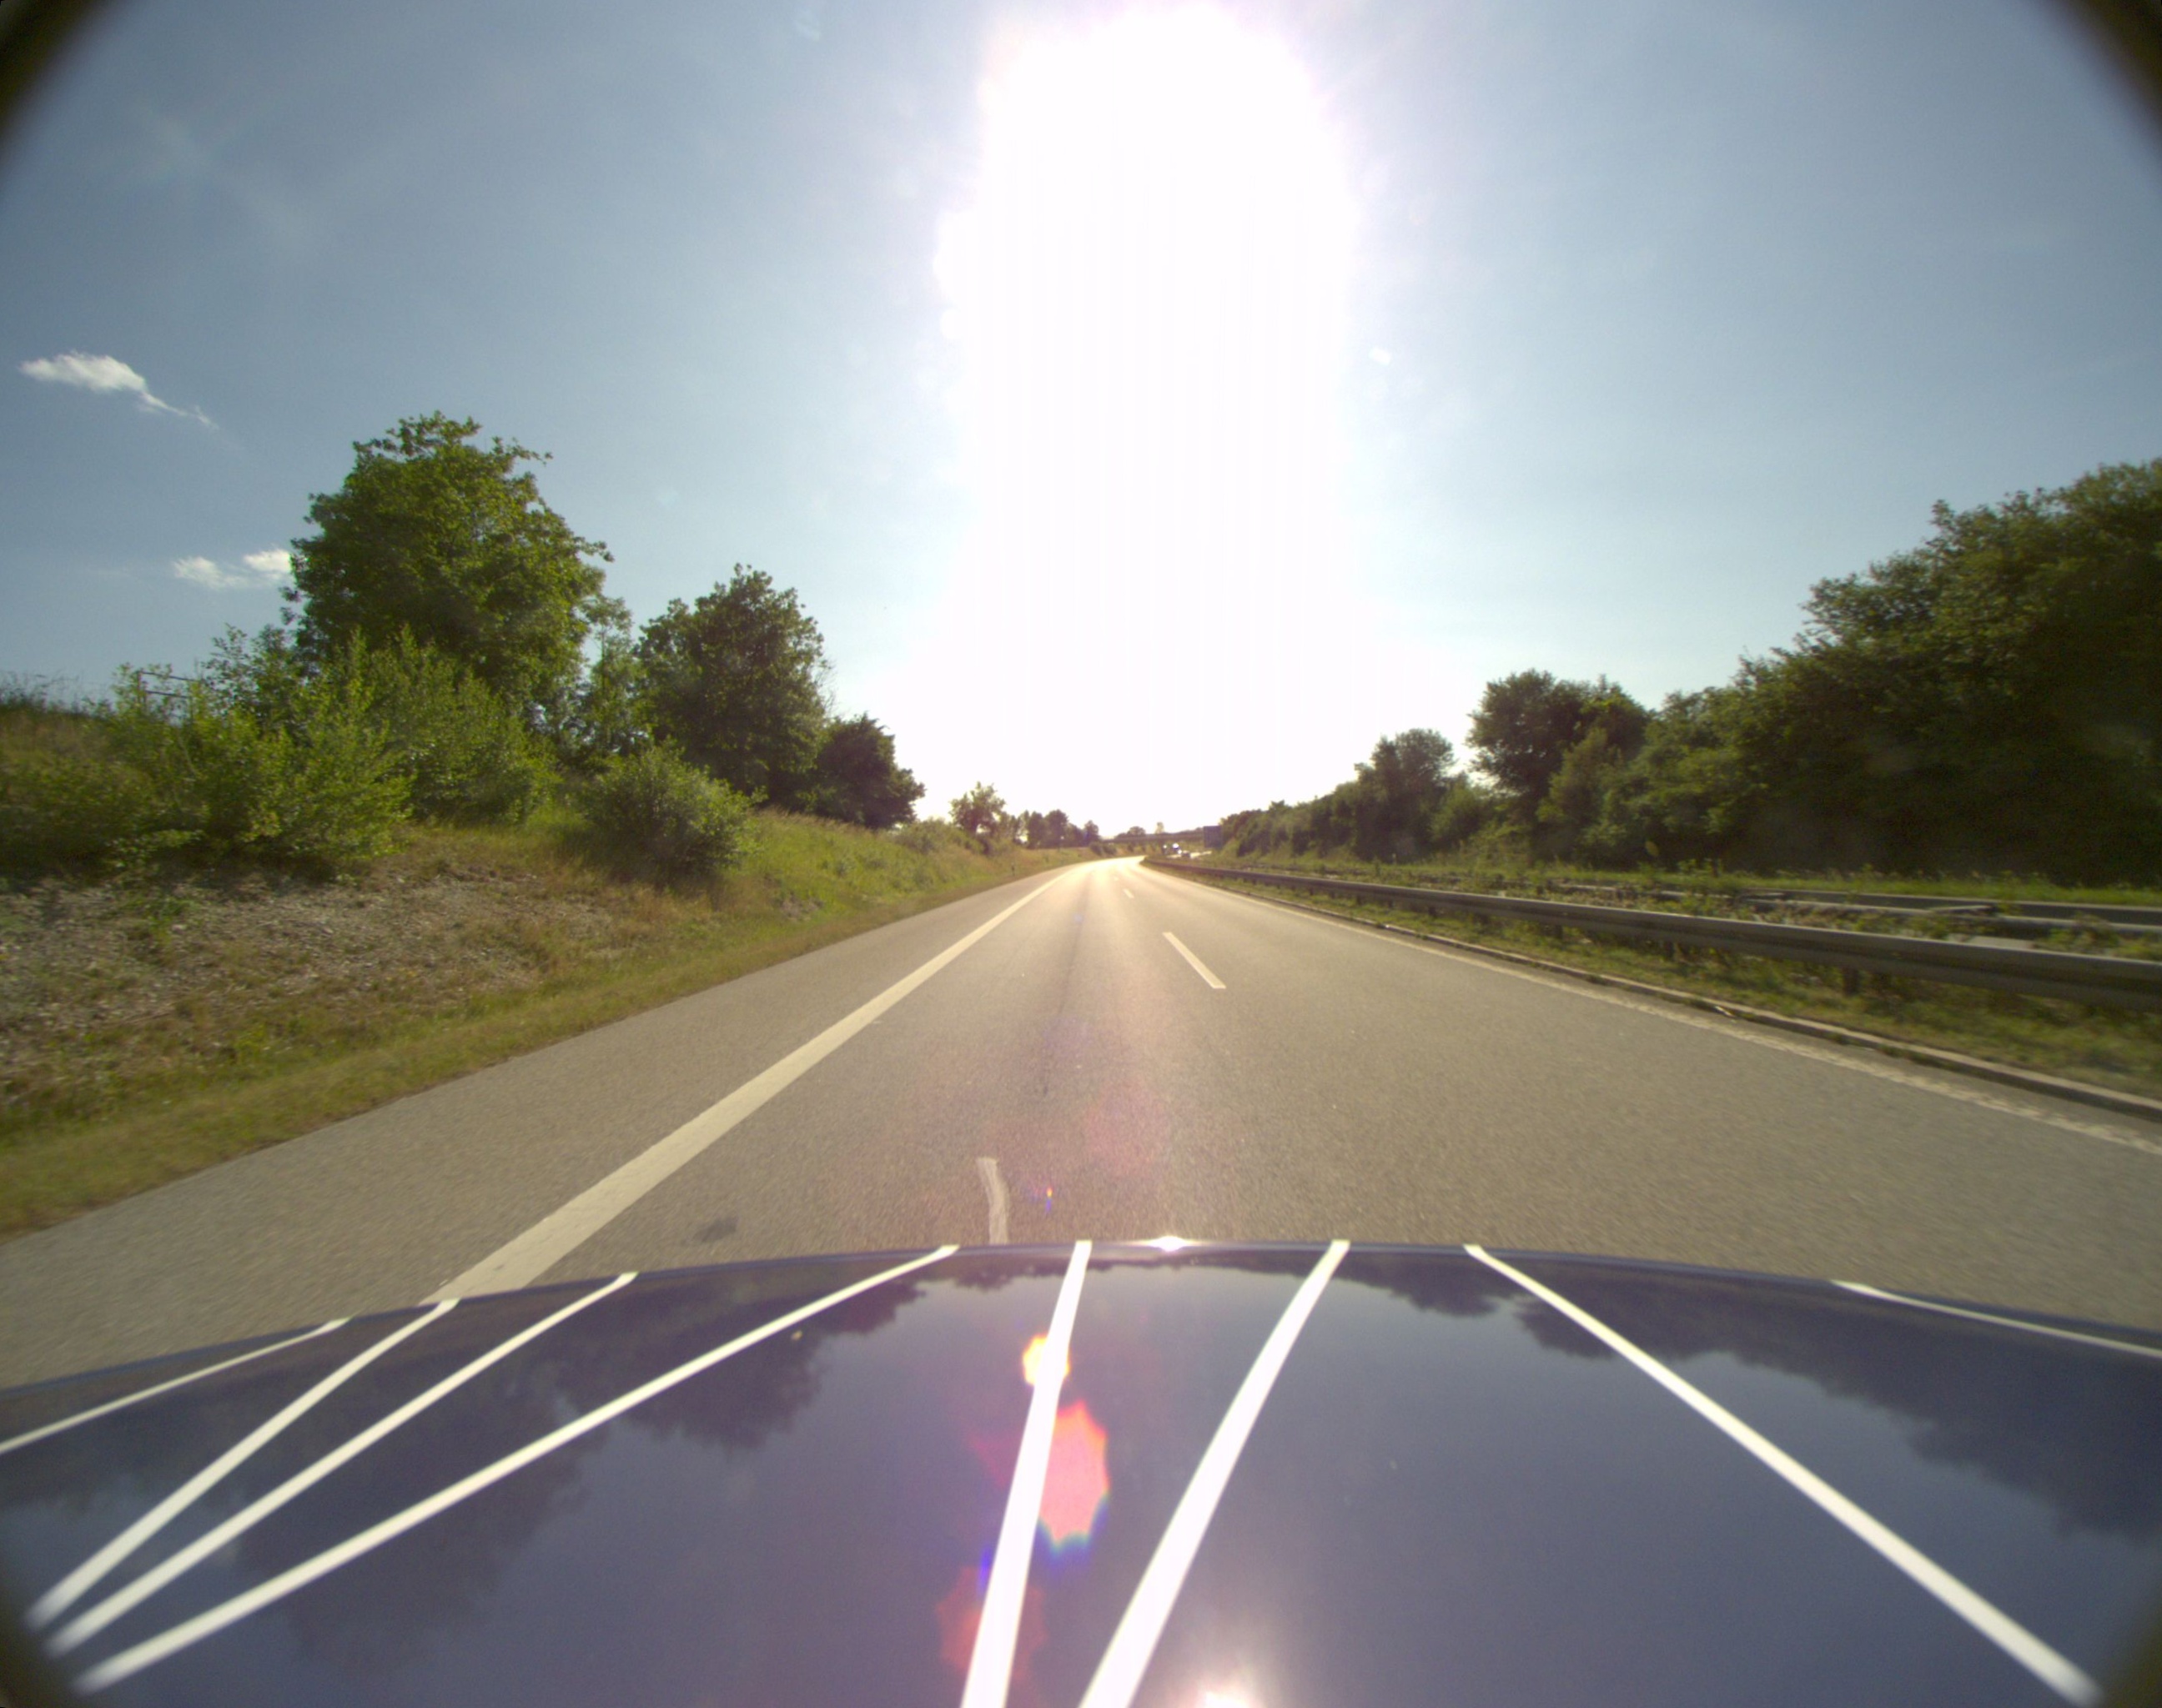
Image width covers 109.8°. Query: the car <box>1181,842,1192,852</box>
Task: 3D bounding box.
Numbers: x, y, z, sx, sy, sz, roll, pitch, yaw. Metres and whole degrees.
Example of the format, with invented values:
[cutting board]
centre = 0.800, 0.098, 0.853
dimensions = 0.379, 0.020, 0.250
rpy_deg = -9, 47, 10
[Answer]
[car]
centre = 22.316, -1.498, 160.839
dimensions = 1.998, 2.002, 4.855
rpy_deg = -1, 1, 3
